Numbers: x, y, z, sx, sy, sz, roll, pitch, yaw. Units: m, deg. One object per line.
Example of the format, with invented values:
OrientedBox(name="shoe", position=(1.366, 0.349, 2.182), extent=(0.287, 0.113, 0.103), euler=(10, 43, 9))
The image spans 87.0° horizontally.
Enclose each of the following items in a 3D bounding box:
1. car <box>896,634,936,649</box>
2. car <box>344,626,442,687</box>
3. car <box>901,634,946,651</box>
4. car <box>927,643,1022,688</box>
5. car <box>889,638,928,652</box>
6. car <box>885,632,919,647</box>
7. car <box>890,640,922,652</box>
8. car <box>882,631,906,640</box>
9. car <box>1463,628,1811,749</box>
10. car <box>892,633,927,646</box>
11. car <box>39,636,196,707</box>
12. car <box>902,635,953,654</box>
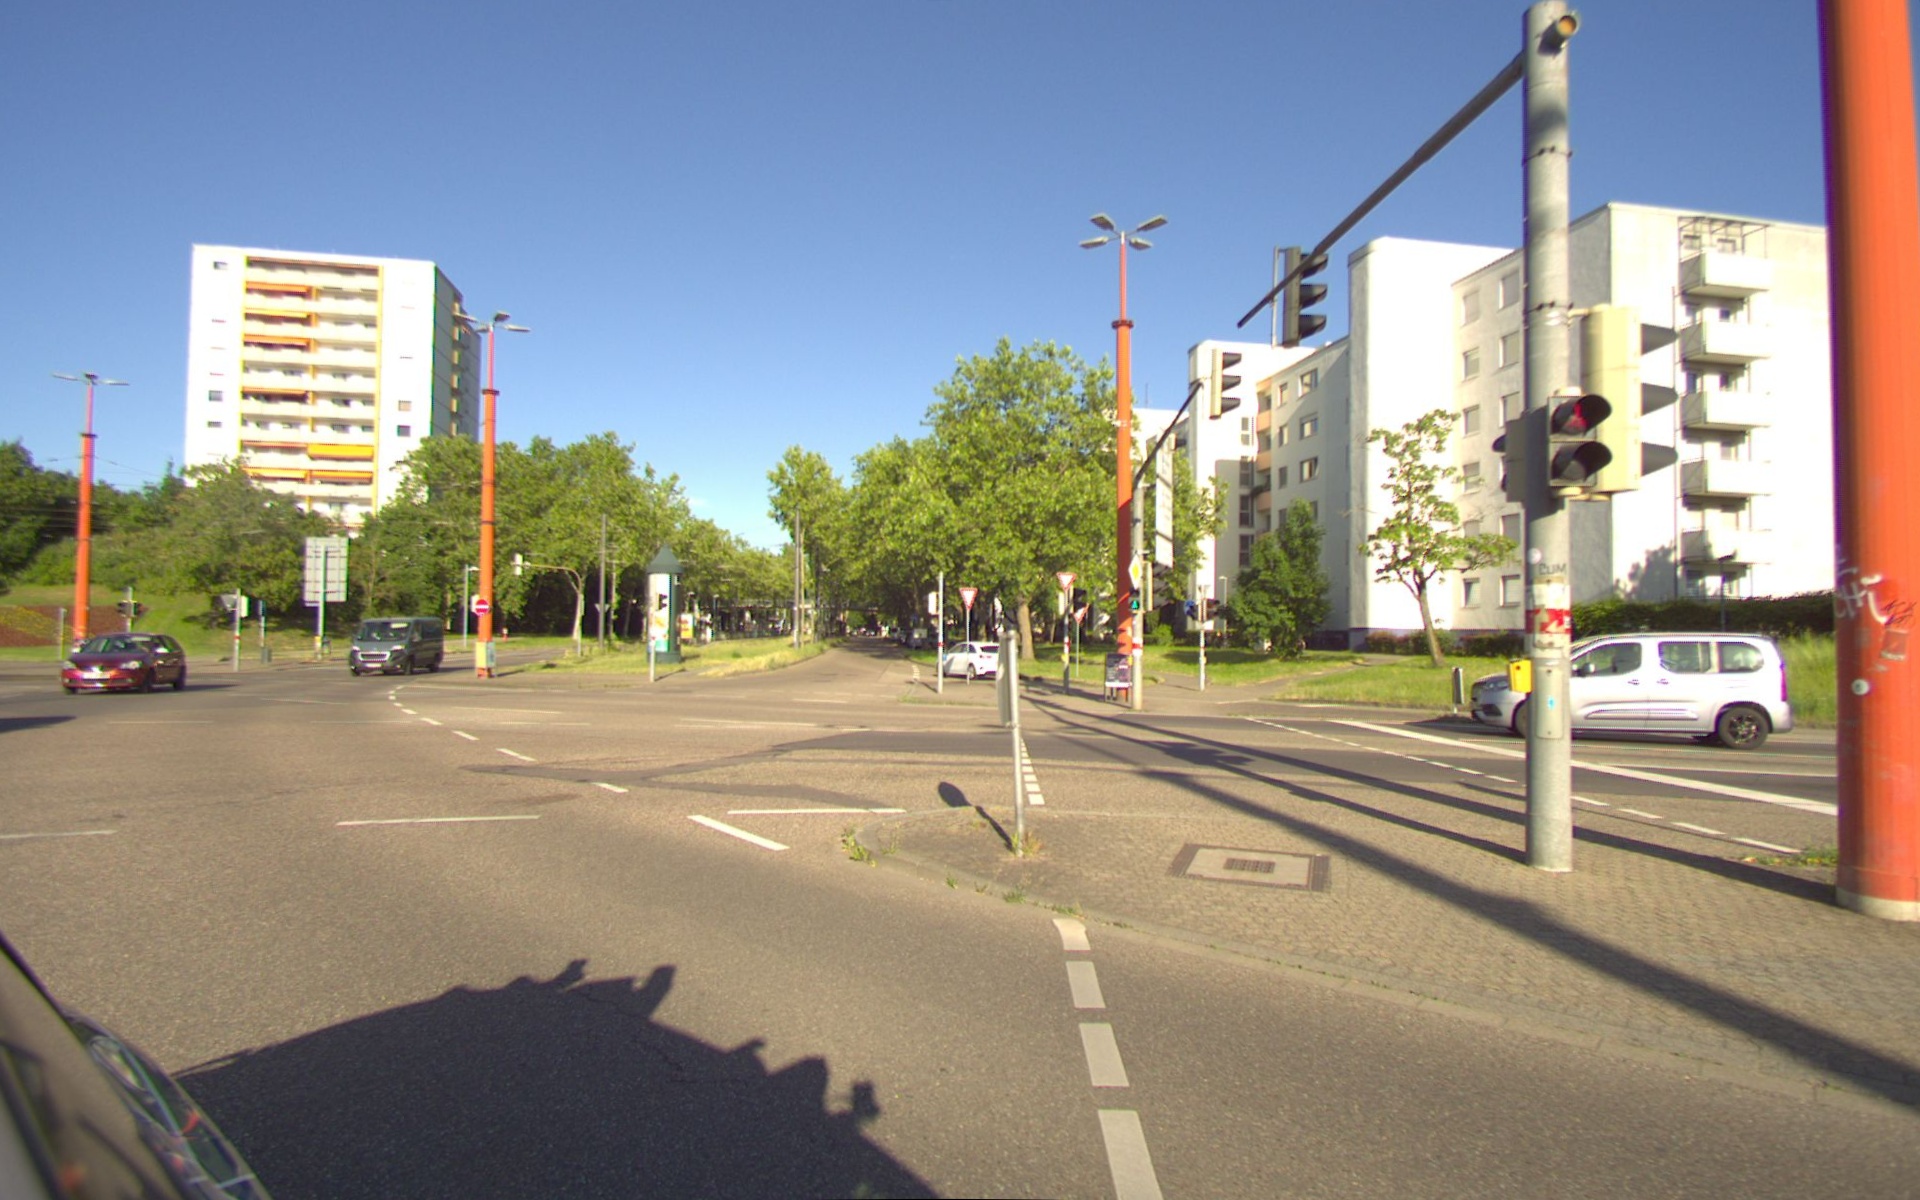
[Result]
OrientedBox(name="car", position=(-4.591, 4.344, 106.290), extent=(1.796, 1.510, 3.990), euler=(-3, -3, 45))
OrientedBox(name="car", position=(-21.962, 2.119, 39.482), extent=(2.007, 2.221, 5.677), euler=(0, -2, -15))
OrientedBox(name="car", position=(-3.192, 3.722, 89.121), extent=(1.677, 1.398, 3.992), euler=(-3, -3, 43))
OrientedBox(name="car", position=(0.497, 2.520, 39.476), extent=(1.871, 1.562, 4.274), euler=(4, -3, -27))
OrientedBox(name="car", position=(-5.594, 4.882, 110.068), extent=(1.796, 1.510, 3.990), euler=(-3, -3, 45))
OrientedBox(name="car", position=(-7.831, 5.359, 136.502), extent=(2.021, 1.934, 4.370), euler=(-3, -3, 42))
OrientedBox(name="car", position=(-6.744, 5.781, 126.927), extent=(1.795, 1.510, 3.993), euler=(-3, -3, 42))
OrientedBox(name="car", position=(-11.083, 6.001, 169.733), extent=(1.795, 1.510, 3.993), euler=(-3, -3, 42))
OrientedBox(name="car", position=(10.878, 1.387, 16.716), extent=(4.416, 1.789, 1.890), euler=(-1, -4, 22))
OrientedBox(name="car", position=(-5.880, 4.553, 117.472), extent=(1.795, 1.510, 3.993), euler=(-3, -3, 42))
OrientedBox(name="car", position=(-20.593, 1.683, 24.978), extent=(1.742, 1.570, 4.741), euler=(1, -2, -24))
OrientedBox(name="car", position=(-2.636, 3.640, 82.504), extent=(1.815, 1.498, 3.992), euler=(-3, -3, 43))
